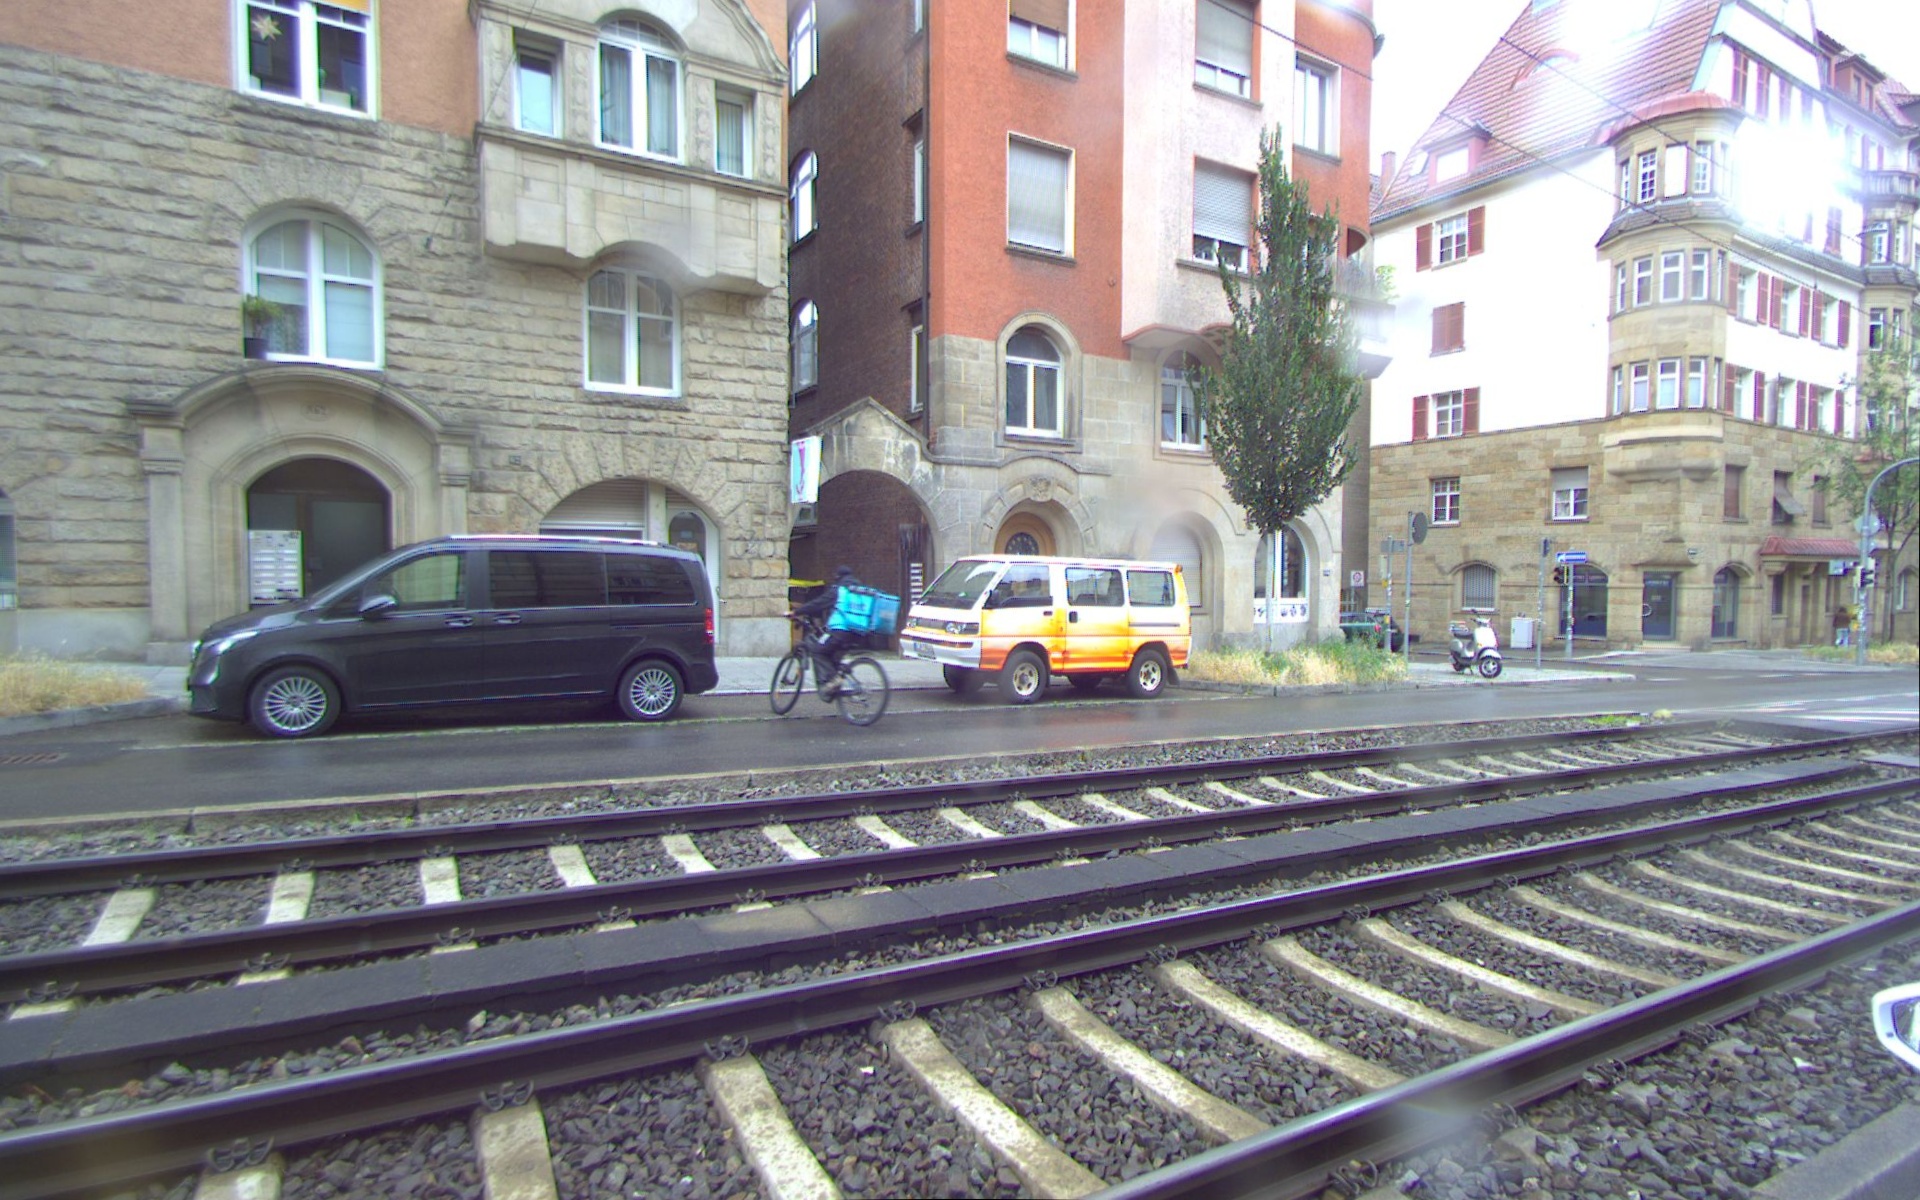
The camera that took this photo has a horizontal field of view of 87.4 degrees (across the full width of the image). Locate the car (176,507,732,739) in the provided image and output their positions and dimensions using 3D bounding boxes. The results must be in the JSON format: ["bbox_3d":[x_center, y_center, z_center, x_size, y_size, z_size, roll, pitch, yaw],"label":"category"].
[{"bbox_3d":[-5.052,0.256,10.591,4.769,1.968,1.984,2,0,-30],"label":"car"}]

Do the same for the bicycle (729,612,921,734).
[{"bbox_3d":[-1.521,0.773,11.256,1.999,1.202,0.825,2,0,27],"label":"bicycle"}]

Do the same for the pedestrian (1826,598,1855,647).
[{"bbox_3d":[31.473,0.804,35.915,0.696,1.695,0.626,2,0,-38],"label":"pedestrian"}]

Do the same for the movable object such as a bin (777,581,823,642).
[{"bbox_3d":[-3.612,0.247,22.653,0.676,1.324,1.154,1,1,-26],"label":"movable object such as a bin"}]

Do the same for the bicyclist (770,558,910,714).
[{"bbox_3d":[-1.324,0.372,11.139,1.230,1.618,0.886,1,0,27],"label":"bicyclist"}]

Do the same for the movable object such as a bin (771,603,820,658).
[{"bbox_3d":[-2.893,0.530,17.587,0.627,0.918,0.793,1,1,-27],"label":"movable object such as a bin"}]

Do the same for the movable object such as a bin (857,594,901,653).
[{"bbox_3d":[-1.547,0.447,19.136,0.607,1.090,0.679,1,-1,-27],"label":"movable object such as a bin"}]

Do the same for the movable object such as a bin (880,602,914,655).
[{"bbox_3d":[-1.174,0.522,18.628,0.442,0.957,0.557,1,-1,-27],"label":"movable object such as a bin"}]

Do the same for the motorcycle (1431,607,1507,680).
[{"bbox_3d":[10.105,0.832,19.997,0.612,1.384,1.596,2,0,-3],"label":"motorcycle"}]

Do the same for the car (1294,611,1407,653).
[{"bbox_3d":[14.460,1.161,37.340,1.683,1.423,3.618,2,0,-34],"label":"car"}]

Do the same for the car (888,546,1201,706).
[{"bbox_3d":[1.274,0.380,14.436,4.295,2.001,1.721,2,0,-32],"label":"car"}]

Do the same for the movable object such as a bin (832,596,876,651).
[{"bbox_3d":[-2.085,0.453,19.682,0.607,1.052,0.793,1,-1,-27],"label":"movable object such as a bin"}]

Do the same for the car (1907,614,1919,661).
[{"bbox_3d":[34.167,1.326,34.351,3.994,1.573,1.742,2,0,-34],"label":"car"}]

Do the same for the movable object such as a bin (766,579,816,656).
[{"bbox_3d":[-3.108,0.309,18.460,0.648,1.360,0.903,1,1,-27],"label":"movable object such as a bin"}]
